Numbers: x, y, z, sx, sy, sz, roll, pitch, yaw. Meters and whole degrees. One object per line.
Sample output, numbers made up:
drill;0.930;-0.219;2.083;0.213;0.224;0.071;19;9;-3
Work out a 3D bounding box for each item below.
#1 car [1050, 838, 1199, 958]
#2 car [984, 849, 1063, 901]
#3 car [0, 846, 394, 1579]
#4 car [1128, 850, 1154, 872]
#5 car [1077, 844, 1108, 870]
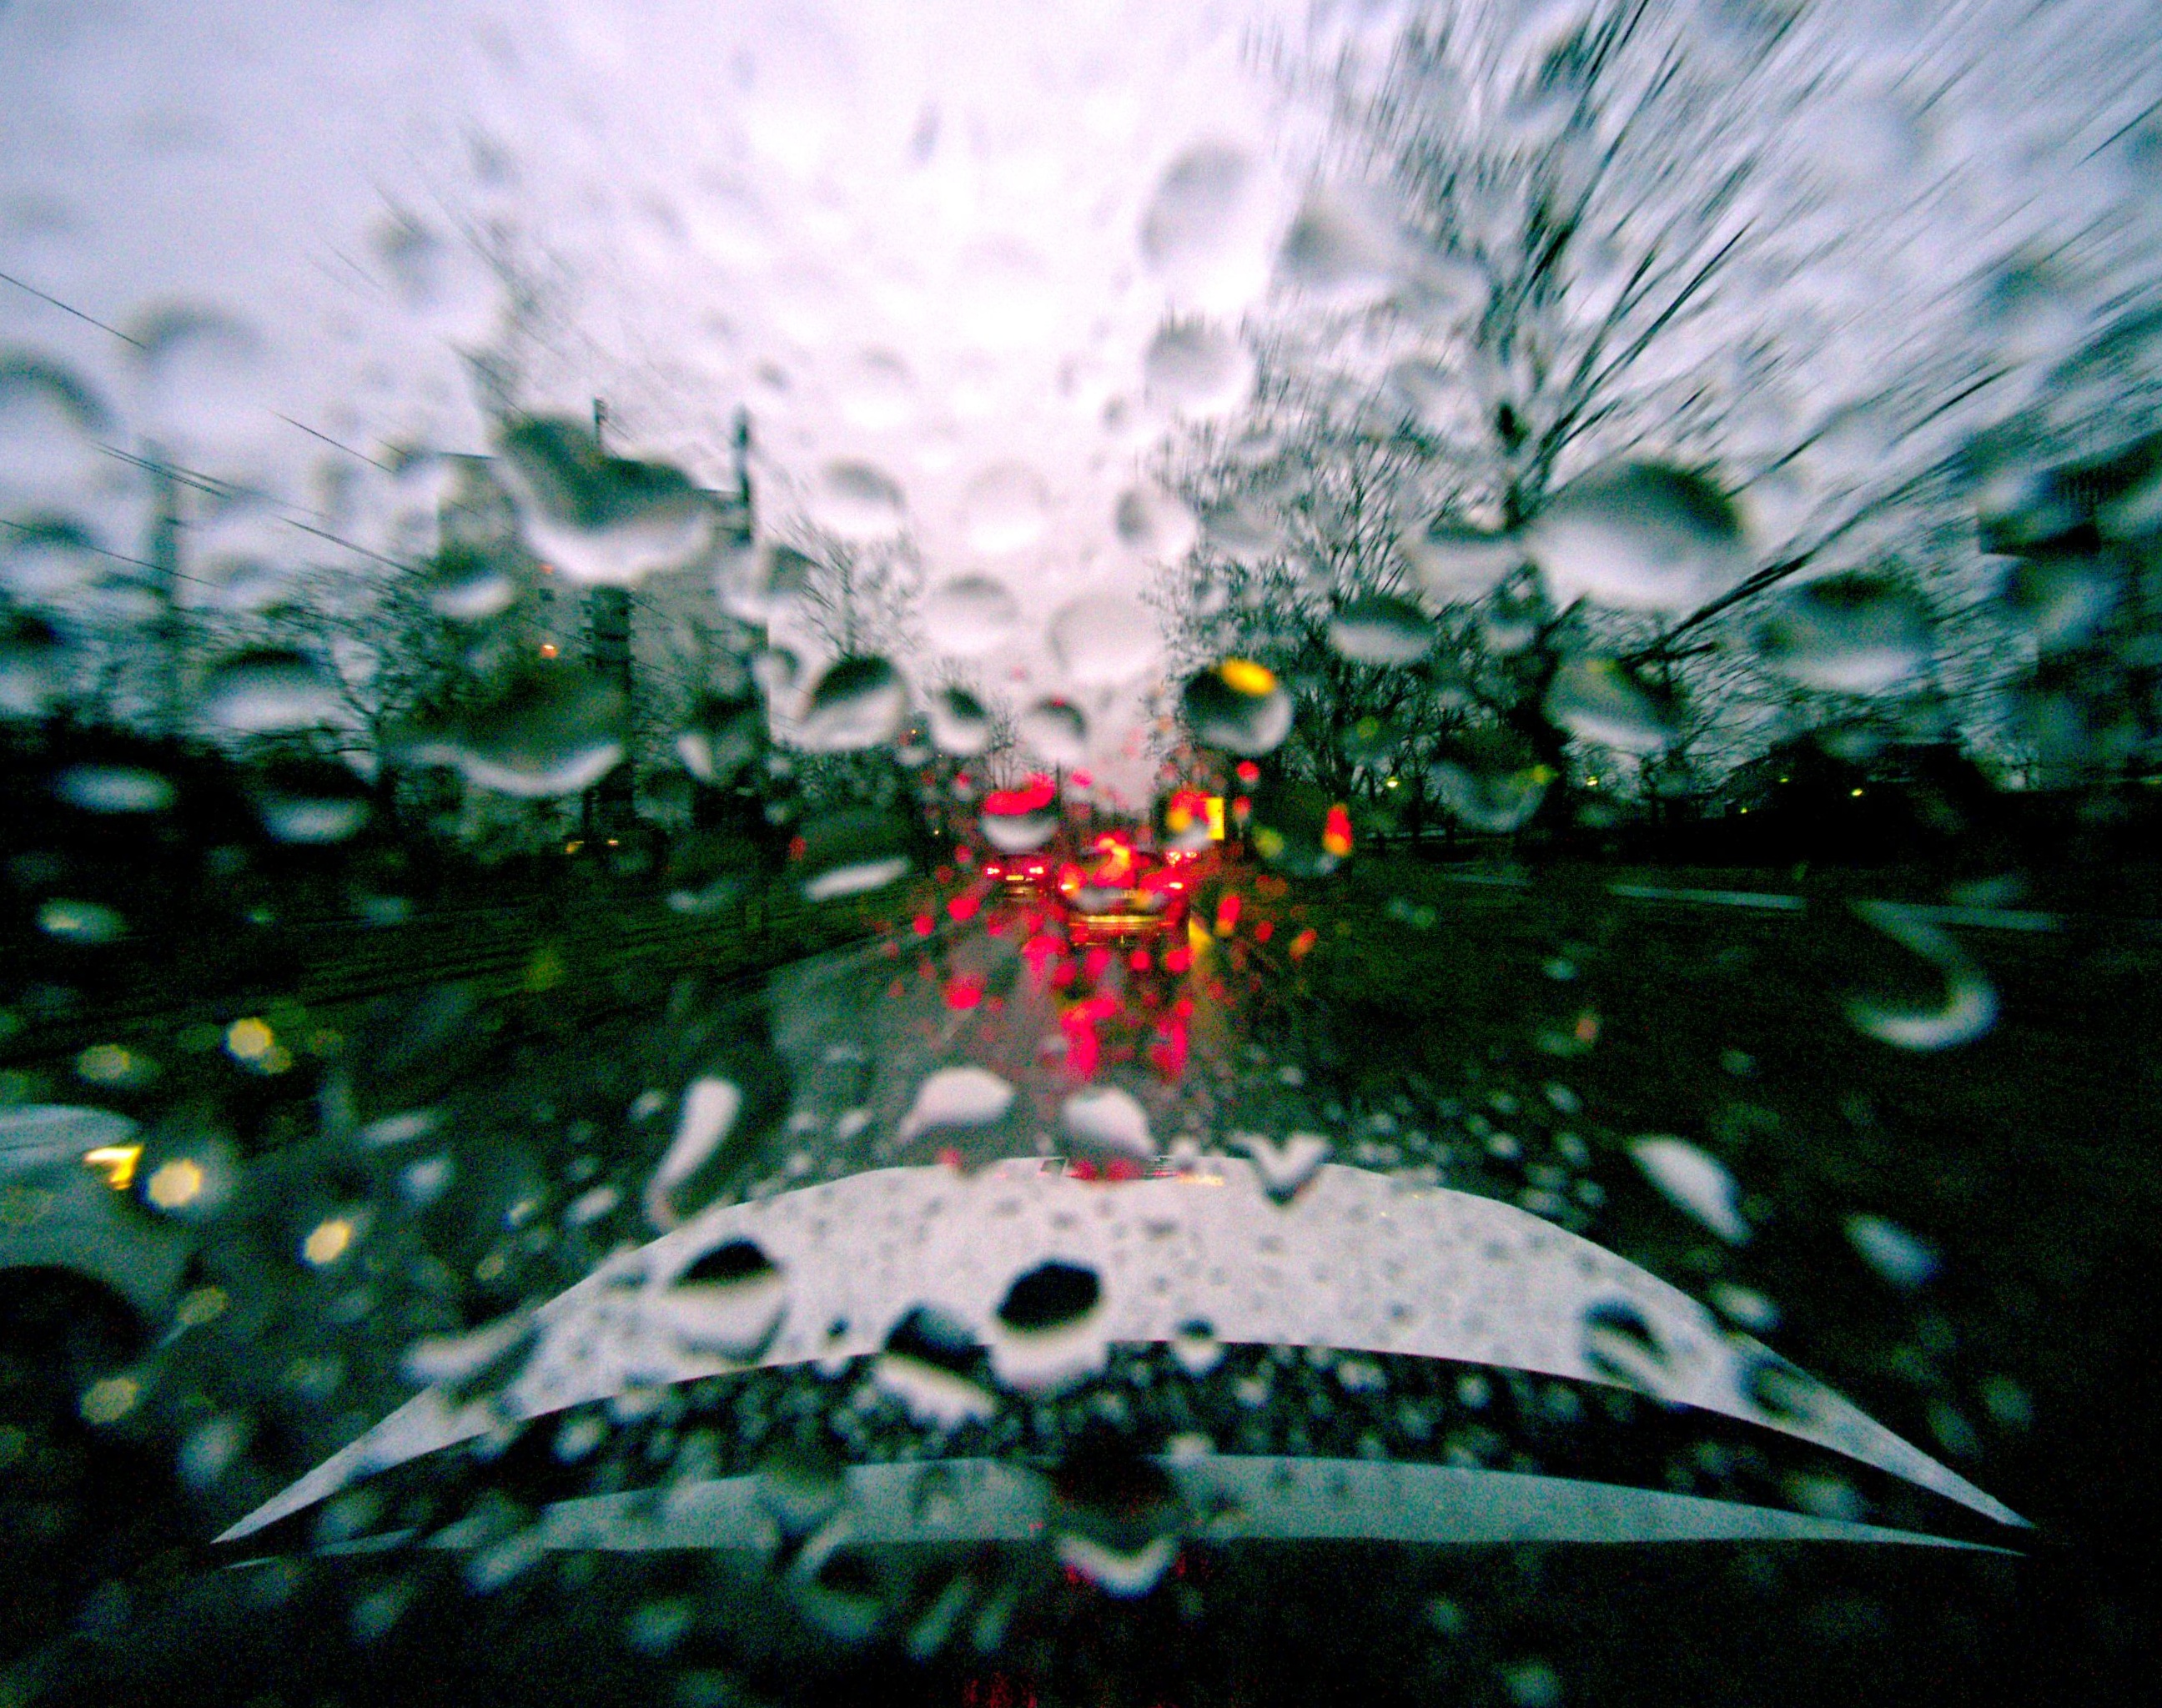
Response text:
car;0.593;0.576;12.974;1.992;1.584;4.000;-1;0;0
car;-1.729;0.610;25.723;1.871;1.459;4.005;-2;0;4
car;-3.181;0.766;0.572;1.701;1.525;4.138;-1;0;3
car;4.414;0.513;60.591;1.702;1.558;3.997;-1;0;1
car;0.770;0.191;53.390;1.873;1.593;4.001;-2;0;1
